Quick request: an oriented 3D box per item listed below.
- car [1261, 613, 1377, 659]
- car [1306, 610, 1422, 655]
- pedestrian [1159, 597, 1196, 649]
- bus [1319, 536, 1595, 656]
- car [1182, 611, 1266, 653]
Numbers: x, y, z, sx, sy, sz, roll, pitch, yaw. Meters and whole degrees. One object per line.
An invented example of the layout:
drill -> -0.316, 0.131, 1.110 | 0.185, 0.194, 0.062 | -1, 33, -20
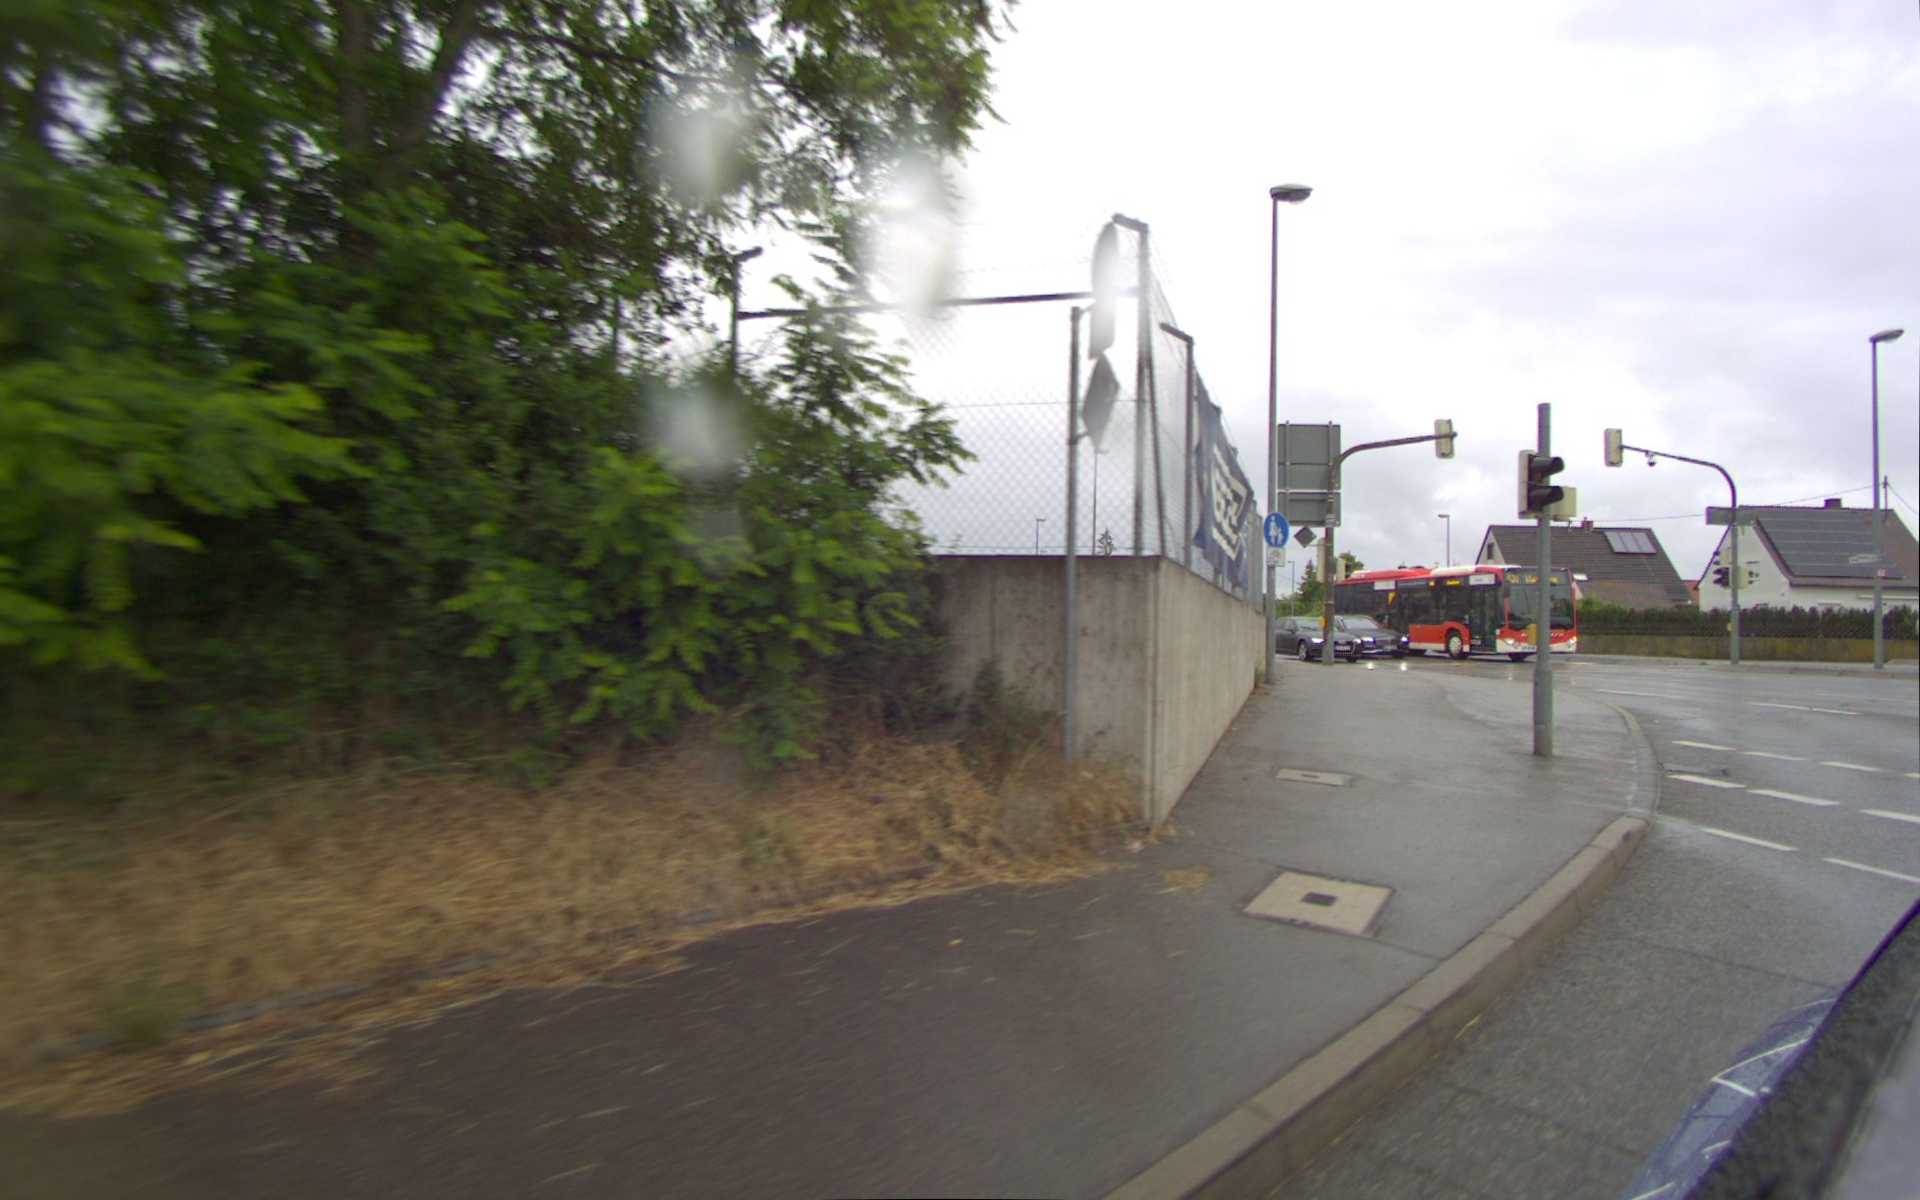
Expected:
car -> 11.549, 1.133, 32.915 | 1.789, 1.372, 4.398 | 1, -1, -6
car -> 14.206, 1.108, 35.909 | 1.864, 1.486, 4.597 | 1, -1, -6
pedestrian -> 7.230, 0.757, 33.702 | 0.852, 1.630, 0.874 | 4, -1, -10
bus -> 17.259, -0.120, 36.828 | 2.926, 3.622, 12.304 | 0, 0, -6
car -> 10.531, 1.242, 40.728 | 1.789, 1.558, 4.398 | 1, -1, -6
